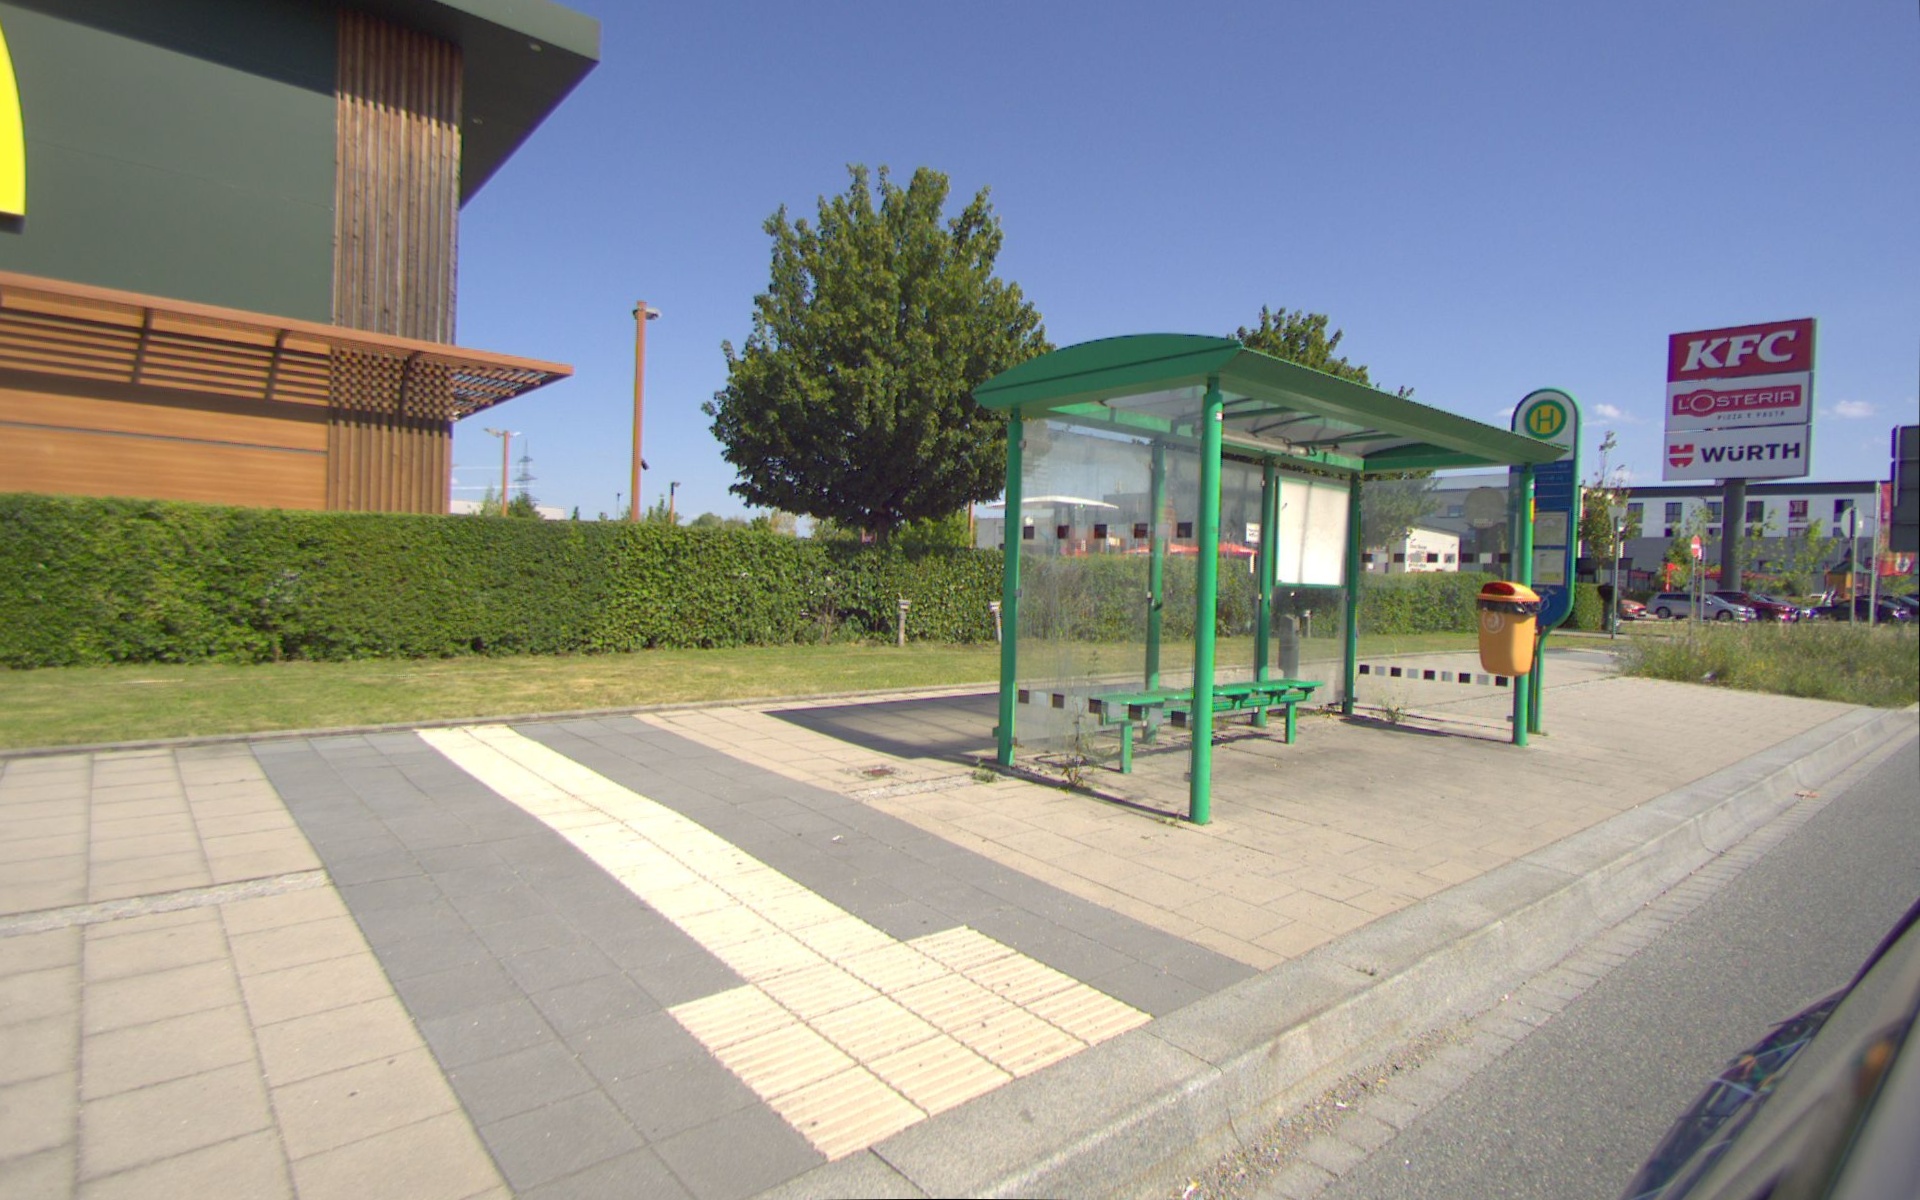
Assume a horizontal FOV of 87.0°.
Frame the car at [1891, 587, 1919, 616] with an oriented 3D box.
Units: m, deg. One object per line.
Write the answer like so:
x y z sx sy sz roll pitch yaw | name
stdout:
61.250 0.160 62.581 1.899 1.756 5.010 1 2 -23 | car

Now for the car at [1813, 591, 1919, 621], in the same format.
51.659 0.327 57.584 1.753 1.467 4.431 1 2 -23 | car

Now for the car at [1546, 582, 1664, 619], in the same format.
29.925 -0.014 47.073 1.832 1.508 4.222 1 2 -32 | car

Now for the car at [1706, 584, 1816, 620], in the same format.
42.508 0.091 53.806 1.830 1.686 4.176 1 2 -25 | car

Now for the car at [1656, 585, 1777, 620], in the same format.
38.498 0.105 51.615 1.831 1.508 4.578 1 2 -29 | car

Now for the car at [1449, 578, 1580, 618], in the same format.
23.622 -0.119 43.271 1.832 1.508 4.545 1 2 -32 | car

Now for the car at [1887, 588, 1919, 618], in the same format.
58.752 0.272 60.584 1.753 1.756 4.431 2 2 -21 | car

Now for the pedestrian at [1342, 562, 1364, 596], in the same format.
24.419 -1.308 62.881 0.874 2.039 0.916 1 1 -36 | pedestrian

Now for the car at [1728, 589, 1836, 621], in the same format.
44.516 0.240 54.906 1.755 1.467 4.173 1 2 -31 | car

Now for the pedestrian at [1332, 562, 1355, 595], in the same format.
23.506 -1.312 62.035 0.874 2.039 0.916 1 1 -36 | pedestrian

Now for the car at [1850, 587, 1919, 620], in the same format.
55.735 0.219 59.756 1.753 1.756 4.431 2 2 -21 | car
